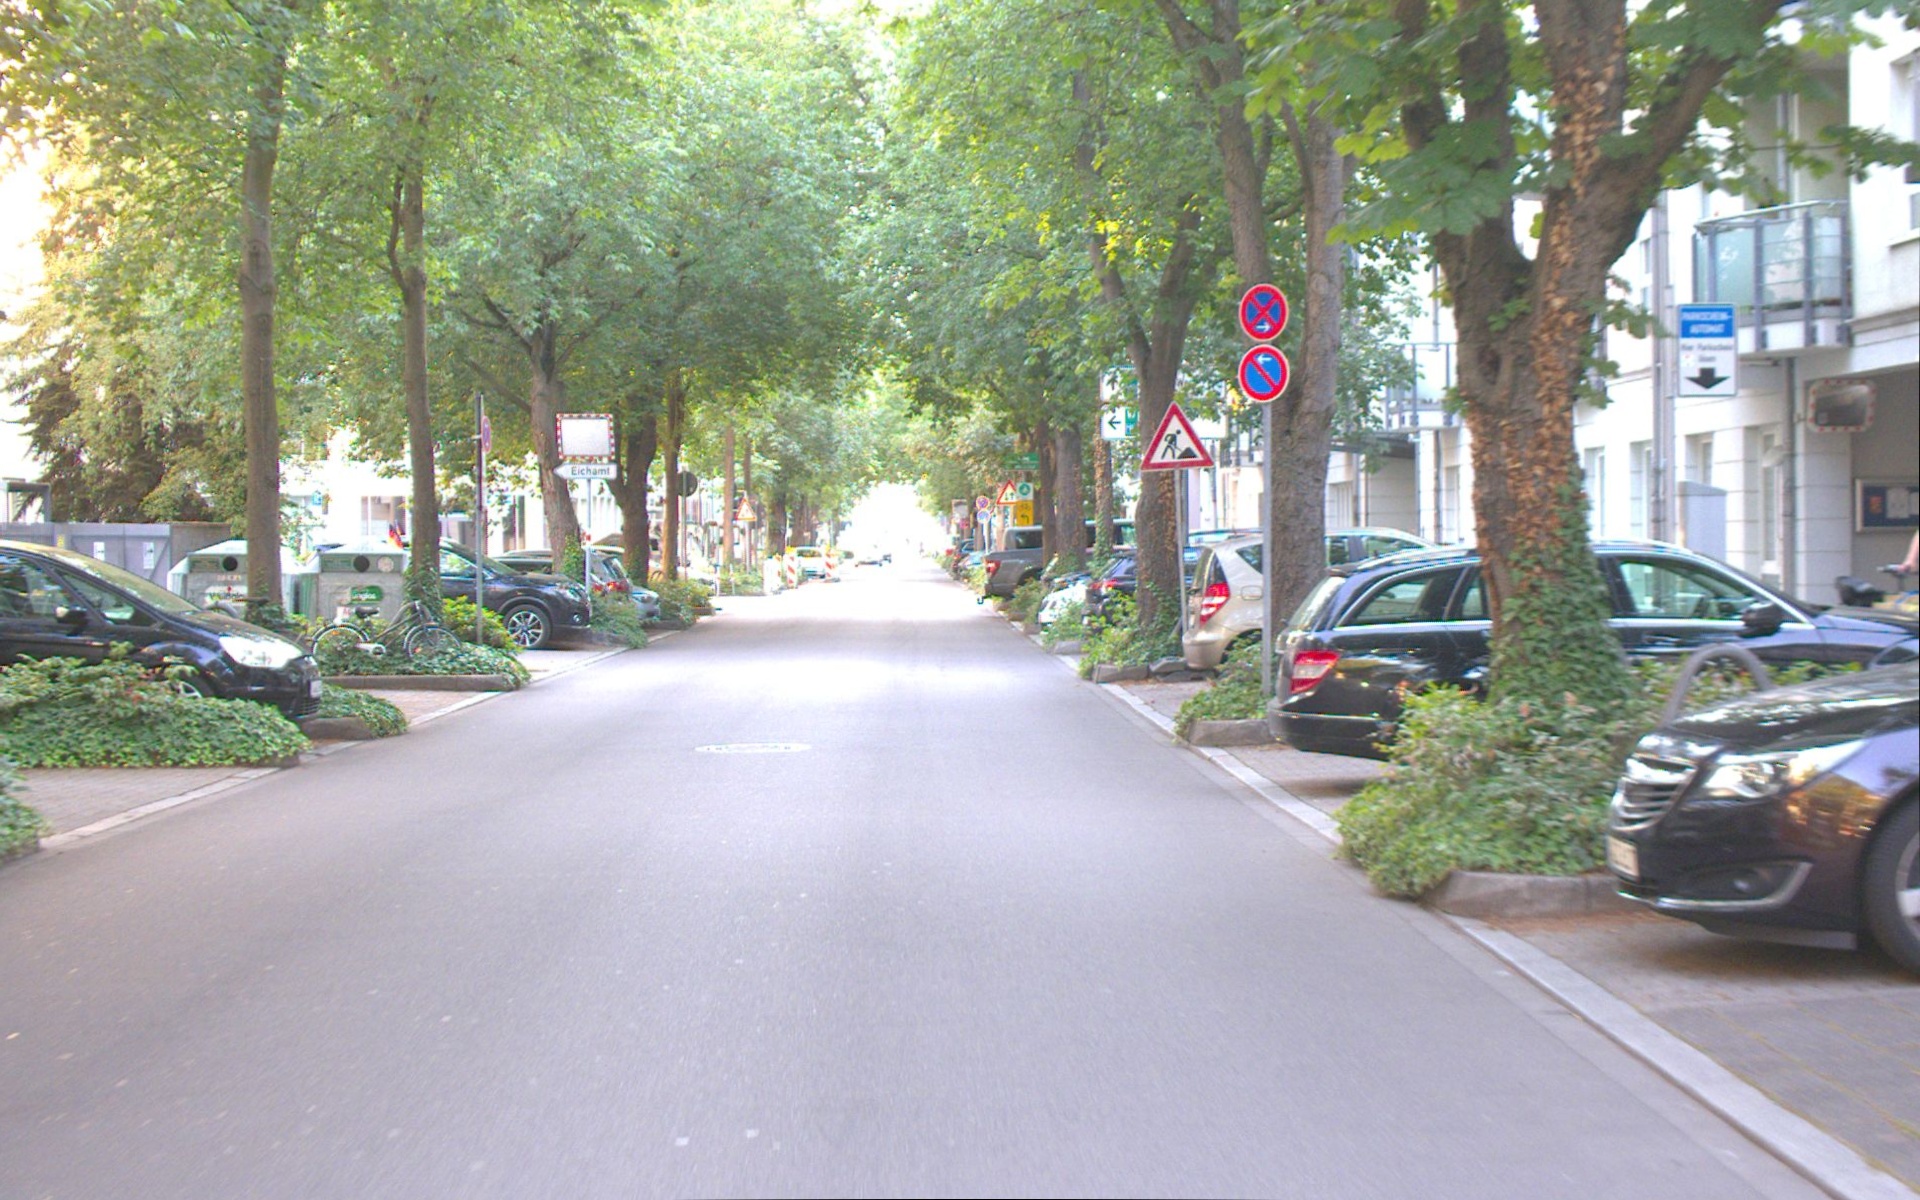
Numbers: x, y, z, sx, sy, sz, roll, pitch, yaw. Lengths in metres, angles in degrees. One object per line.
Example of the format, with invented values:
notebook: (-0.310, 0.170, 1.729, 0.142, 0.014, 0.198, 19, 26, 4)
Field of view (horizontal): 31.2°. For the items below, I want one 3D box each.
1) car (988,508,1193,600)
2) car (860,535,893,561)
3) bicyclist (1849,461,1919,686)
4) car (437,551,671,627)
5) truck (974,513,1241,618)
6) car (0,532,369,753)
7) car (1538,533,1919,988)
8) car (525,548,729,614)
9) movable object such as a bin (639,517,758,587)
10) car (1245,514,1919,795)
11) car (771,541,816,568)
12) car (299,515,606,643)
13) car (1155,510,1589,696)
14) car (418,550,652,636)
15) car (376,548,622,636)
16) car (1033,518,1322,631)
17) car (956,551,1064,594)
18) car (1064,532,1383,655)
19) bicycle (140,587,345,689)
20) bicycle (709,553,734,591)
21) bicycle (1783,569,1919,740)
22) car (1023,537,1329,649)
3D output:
car: (3.013, -1.081, 80.061, 4.600, 2.059, 2.198, -1, 1, -2)
car: (-5.325, -3.309, 218.150, 2.009, 1.607, 4.120, 0, 1, -2)
bicyclist: (7.171, -0.204, 25.058, 0.970, 1.599, 1.136, -1, 1, -7)
car: (-7.785, -0.222, 66.170, 4.287, 1.425, 1.879, 0, 1, -1)
truck: (3.273, -0.777, 77.324, 5.887, 2.303, 2.212, 0, 1, 0)
car: (-7.139, 0.296, 26.312, 4.852, 1.616, 2.160, 0, 1, 0)
car: (4.541, 0.408, 11.952, 4.678, 1.383, 2.000, -3, 1, 1)
car: (-7.910, -0.456, 82.047, 4.619, 1.547, 2.075, 0, 1, 2)
movable object such as a bin: (-9.138, -1.695, 119.887, 4.045, 2.375, 2.785, -1, 1, -6)
car: (4.018, 0.293, 20.845, 4.459, 1.422, 2.011, -3, 1, 4)
car: (-8.003, -2.189, 164.964, 1.993, 1.284, 4.001, 0, 1, -5)
car: (-7.816, -0.336, 53.269, 4.504, 1.949, 2.000, 0, 1, -2)
car: (4.023, 0.015, 34.043, 3.969, 1.580, 1.916, -3, 1, -1)
car: (-7.833, -0.136, 63.543, 3.987, 1.560, 1.929, 0, 1, 4)
car: (-7.805, -0.153, 58.494, 3.986, 1.459, 1.922, 0, 1, -2)
car: (3.718, -0.450, 59.287, 4.641, 1.612, 2.010, -4, 1, -4)
car: (1.874, -1.033, 128.730, 3.987, 1.579, 2.000, 0, 1, 1)
car: (3.652, -0.103, 48.092, 4.082, 1.446, 1.935, -4, 1, -6)
bicycle: (-5.929, 0.313, 28.450, 1.553, 0.828, 0.613, 0, 1, 2)
bicycle: (-7.312, -0.869, 105.377, 0.683, 1.148, 1.981, -1, 1, -6)
bicycle: (6.806, 0.370, 24.666, 0.620, 1.160, 3.402, -1, 1, -6)
car: (3.367, -0.123, 54.114, 4.599, 1.463, 1.796, -3, 1, -1)
